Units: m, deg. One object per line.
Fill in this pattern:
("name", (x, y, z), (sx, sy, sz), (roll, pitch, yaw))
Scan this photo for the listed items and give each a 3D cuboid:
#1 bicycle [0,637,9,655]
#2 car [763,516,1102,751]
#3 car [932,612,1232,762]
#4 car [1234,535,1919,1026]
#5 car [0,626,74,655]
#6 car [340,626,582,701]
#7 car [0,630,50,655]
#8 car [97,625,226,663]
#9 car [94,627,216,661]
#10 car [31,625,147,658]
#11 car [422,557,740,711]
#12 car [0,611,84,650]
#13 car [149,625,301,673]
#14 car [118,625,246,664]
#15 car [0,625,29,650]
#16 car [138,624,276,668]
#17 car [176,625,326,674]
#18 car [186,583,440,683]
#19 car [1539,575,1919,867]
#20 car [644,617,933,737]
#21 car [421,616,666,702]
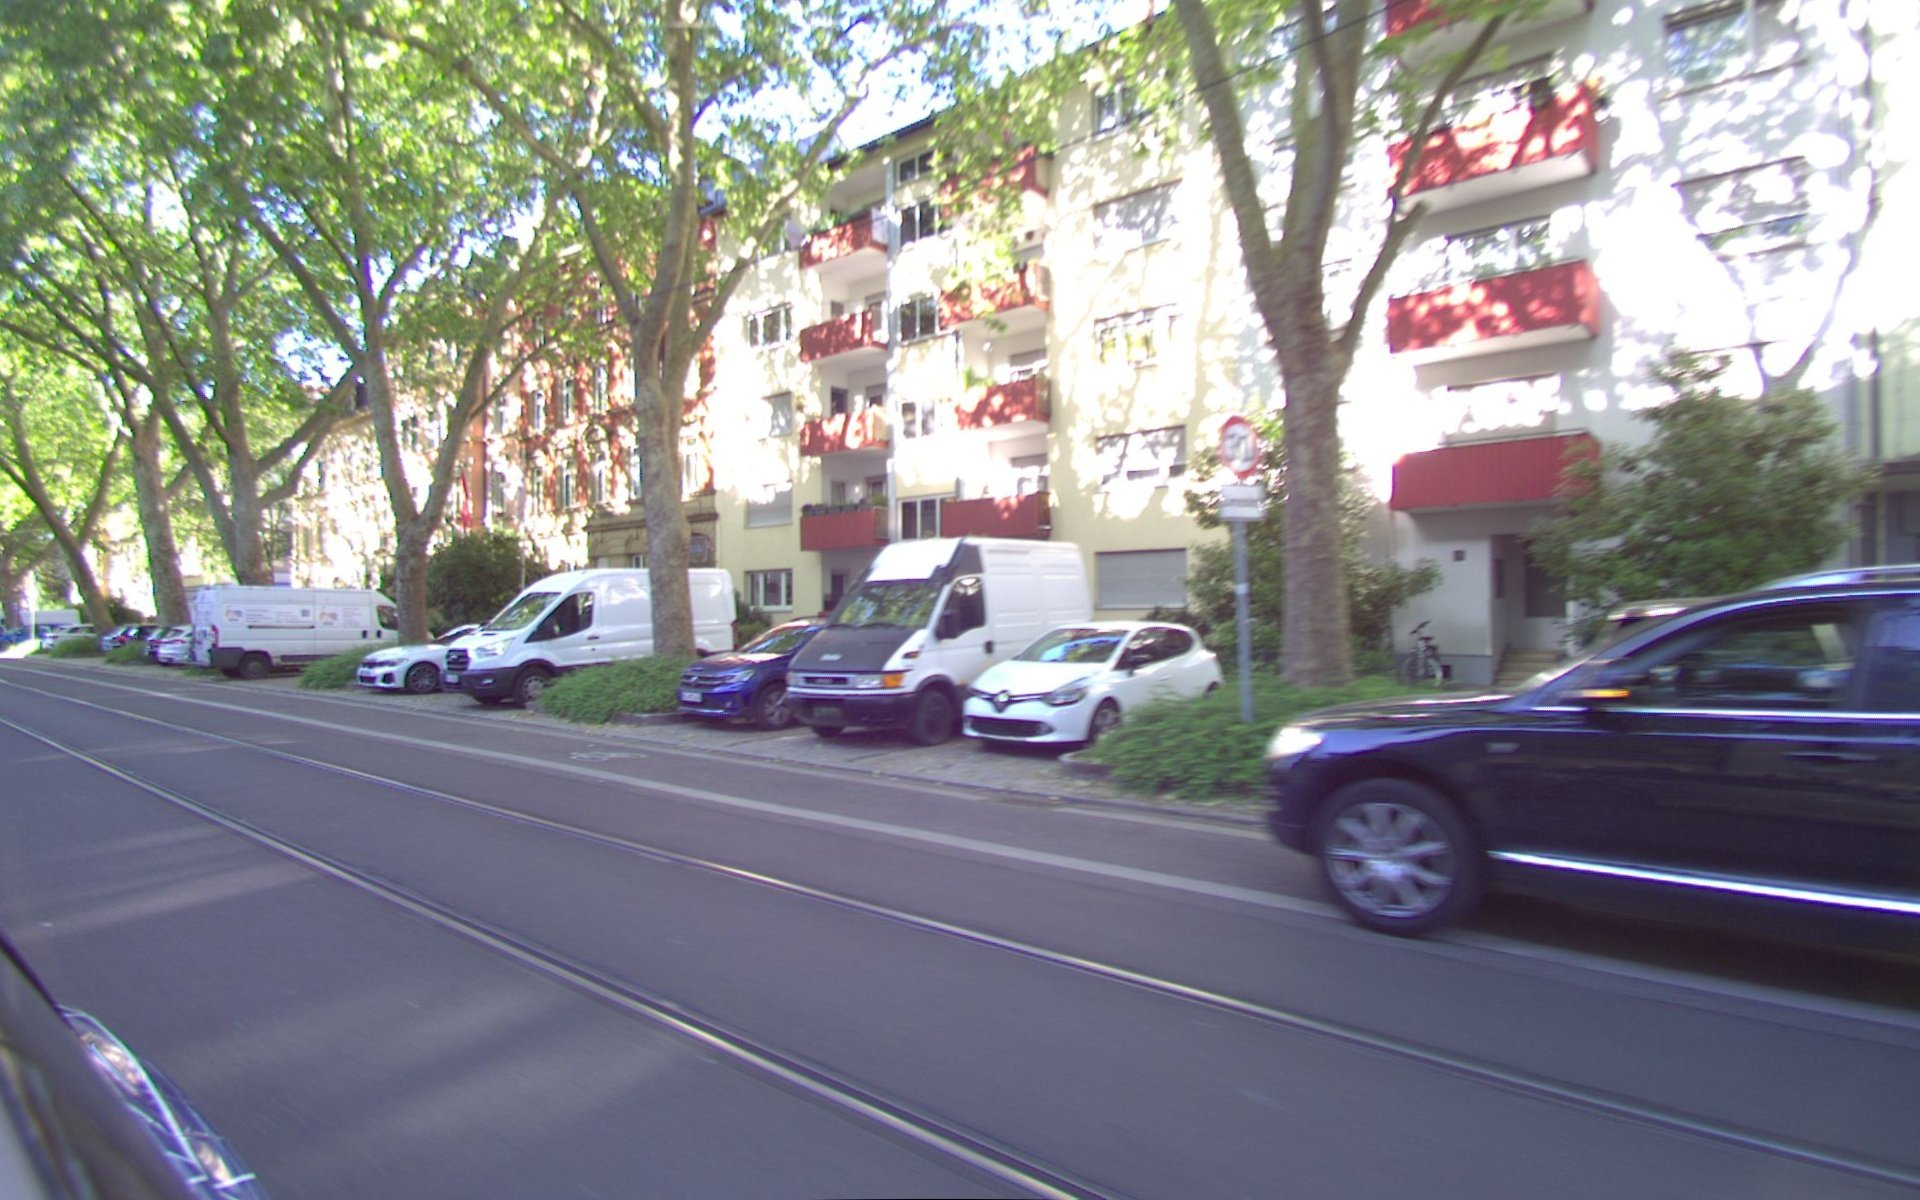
("bicycle", (-54.598, 2.594, 56.659), (0.625, 1.039, 1.860), (-1, -1, 25))
("car", (-0.153, 0.409, 13.784), (2.078, 2.587, 4.899), (-1, -1, 36))
("car", (1.604, 0.905, 12.209), (1.858, 1.489, 3.816), (-1, -1, 39))
("car", (3.746, 0.669, 4.524), (4.481, 1.713, 1.973), (-1, -3, 41))
("car", (-58.052, 2.484, 62.886), (1.814, 1.725, 4.279), (-1, -1, 37))
("car", (-10.818, 1.299, 22.175), (1.932, 1.395, 4.365), (-1, -1, 40))
("car", (-60.113, 2.680, 63.885), (1.745, 1.529, 3.734), (-1, -1, 37))
("car", (-33.825, 1.821, 42.975), (1.764, 1.471, 3.958), (-1, -1, 31))
("car", (-35.634, 1.929, 44.883), (1.601, 1.379, 3.953), (-1, -1, 35))
("car", (-41.629, 1.953, 48.421), (1.877, 1.471, 3.947), (-1, -2, 39))
("car", (-6.951, 0.594, 19.118), (2.056, 2.496, 5.305), (-1, -1, 40))
("car", (-64.619, 2.132, 69.425), (1.999, 2.426, 6.534), (-2, 0, 40))
("car", (-25.243, 1.640, 34.869), (1.829, 1.507, 3.945), (-1, -1, 41))
("car", (-31.812, 1.802, 41.456), (1.704, 1.471, 3.944), (-2, -1, 42))
("car", (-75.565, 2.990, 78.716), (1.923, 1.922, 4.575), (-2, 0, 45))
("car", (-27.196, 1.635, 36.645), (1.703, 1.471, 3.754), (-1, -2, 41))
("car", (-23.242, 1.576, 33.248), (1.704, 1.443, 3.767), (-2, -1, 42))
("car", (-18.144, 0.853, 28.648), (2.161, 2.555, 5.682), (-2, -1, 40))
("car", (5.965, 0.719, 7.902), (1.892, 1.660, 3.948), (-1, -1, 39))
("car", (-2.428, 1.026, 15.051), (1.871, 1.477, 3.977), (-1, -1, 41))
("car", (-8.477, 1.129, 20.911), (1.871, 1.550, 4.326), (-1, -1, 40))
